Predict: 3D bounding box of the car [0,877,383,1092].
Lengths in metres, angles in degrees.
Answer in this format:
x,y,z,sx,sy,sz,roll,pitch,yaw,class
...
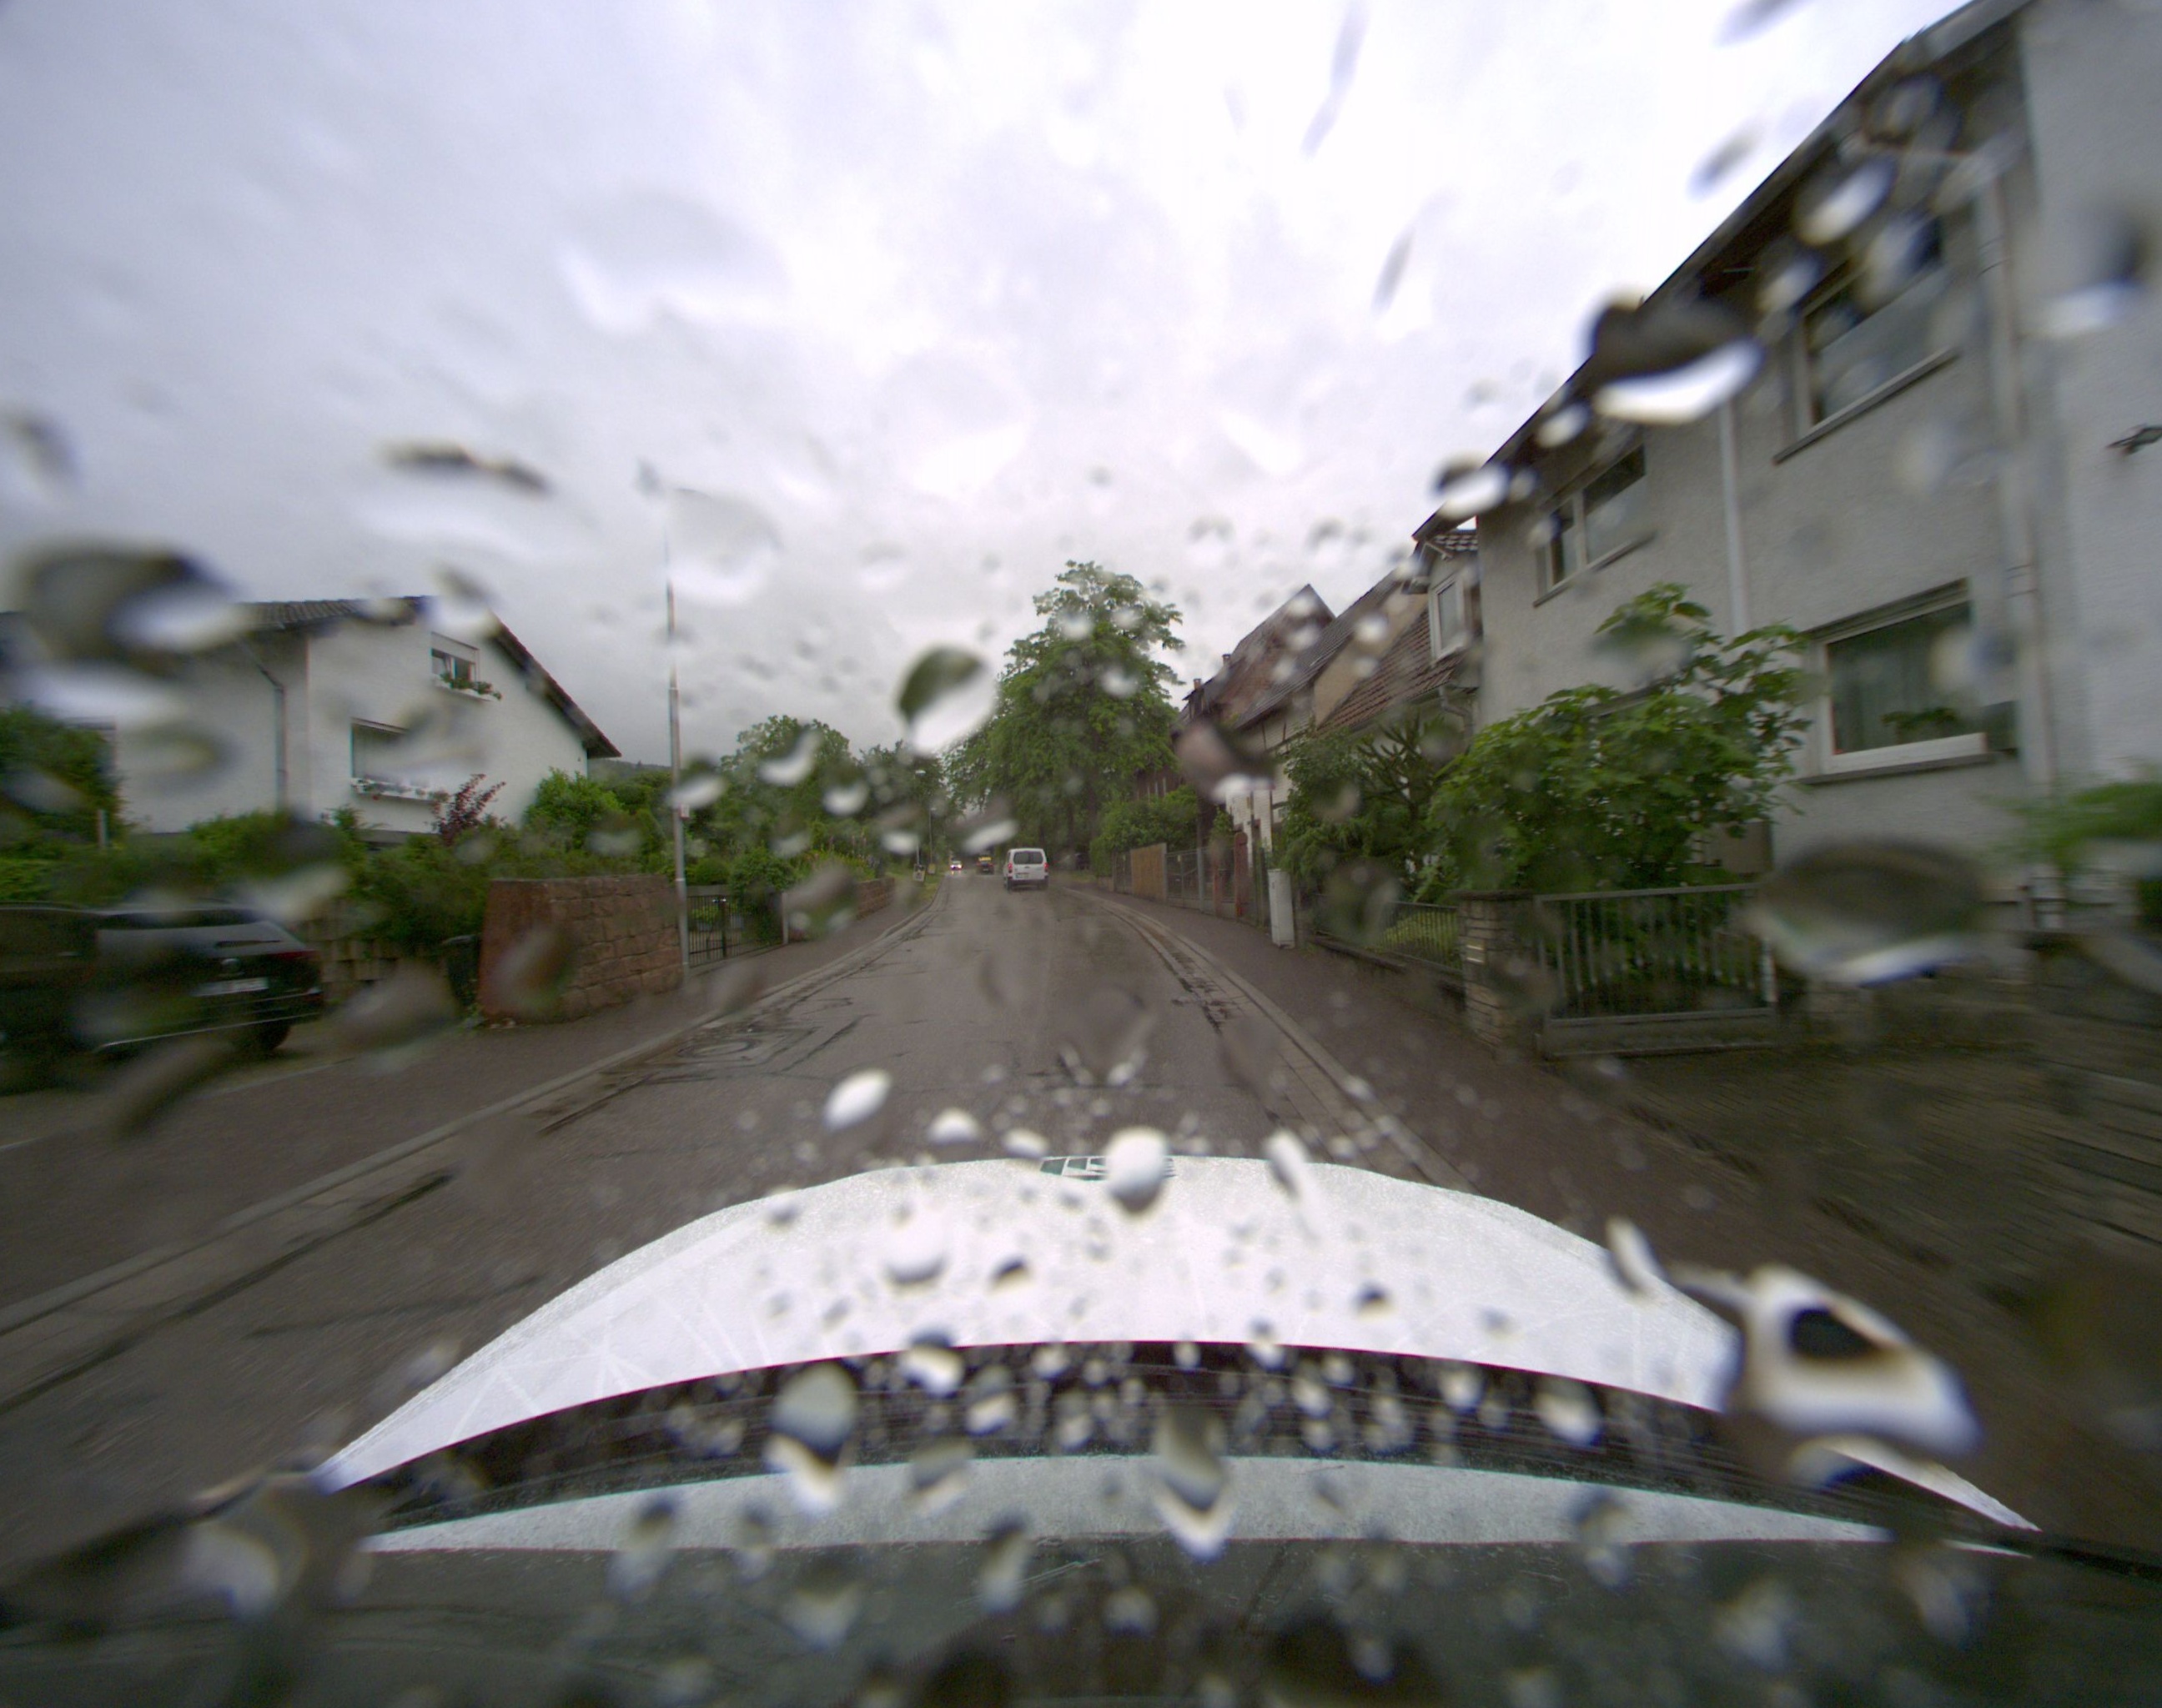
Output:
x,y,z,sx,sy,sz,roll,pitch,yaw,class
-8.830,1.036,7.169,3.961,1.493,2.006,-2,-1,11,car

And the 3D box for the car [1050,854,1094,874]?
x,y,z,sx,sy,sz,roll,pitch,yaw,class
-0.779,0.880,70.273,1.601,1.551,3.634,-4,-2,45,car

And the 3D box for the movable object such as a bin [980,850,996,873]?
x,y,z,sx,sy,sz,roll,pitch,yaw,class
-10.705,0.848,93.480,1.759,2.548,4.229,-1,-1,-6,movable object such as a bin

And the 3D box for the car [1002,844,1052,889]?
x,y,z,sx,sy,sz,roll,pitch,yaw,class
-2.475,0.546,36.511,1.896,1.807,3.989,-2,0,-8,car

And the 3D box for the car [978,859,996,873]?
x,y,z,sx,sy,sz,roll,pitch,yaw,class
-9.441,1.217,81.790,1.706,1.377,3.991,-1,-1,-6,car

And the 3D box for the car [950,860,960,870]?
x,y,z,sx,sy,sz,roll,pitch,yaw,class
-24.050,2.077,155.415,1.824,1.832,4.292,-1,-1,-10,car
